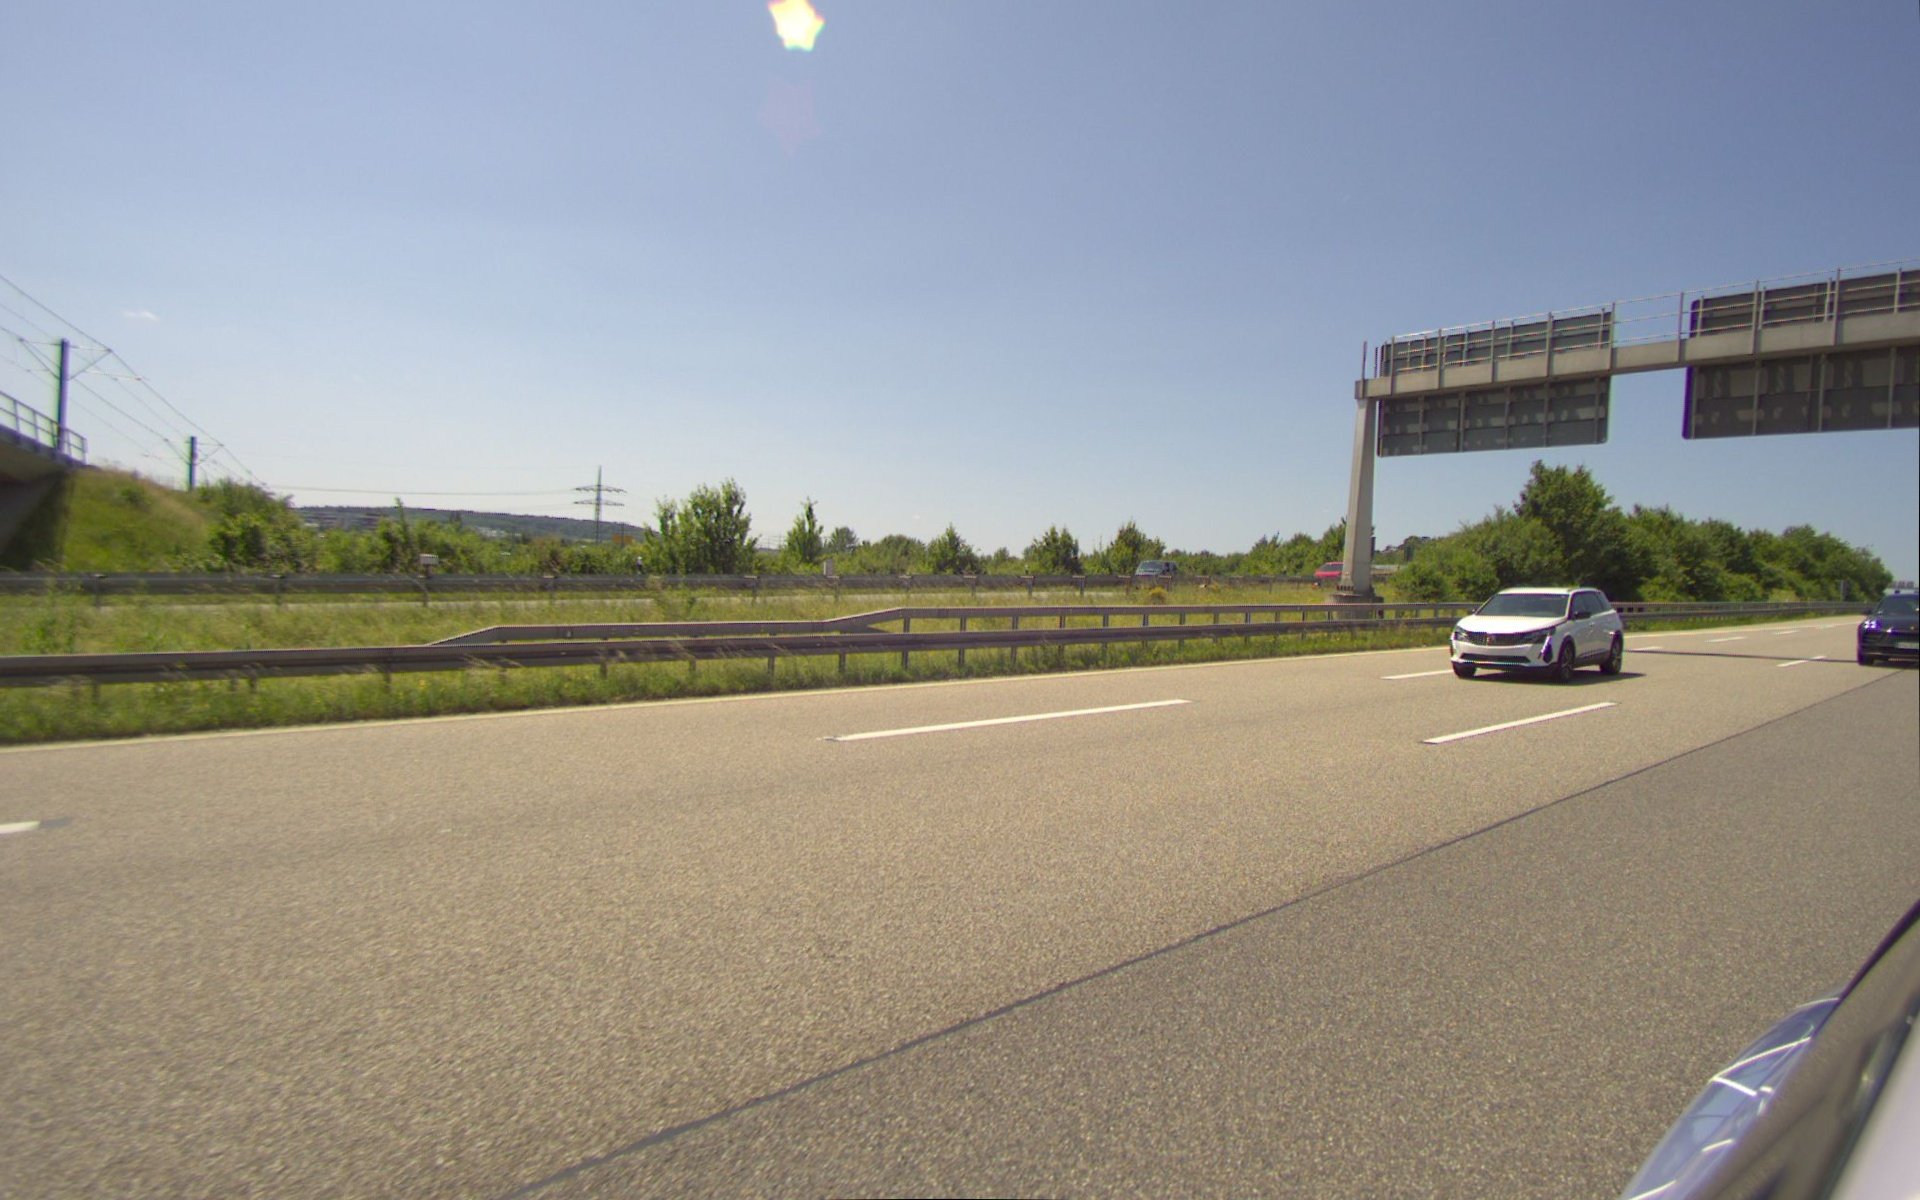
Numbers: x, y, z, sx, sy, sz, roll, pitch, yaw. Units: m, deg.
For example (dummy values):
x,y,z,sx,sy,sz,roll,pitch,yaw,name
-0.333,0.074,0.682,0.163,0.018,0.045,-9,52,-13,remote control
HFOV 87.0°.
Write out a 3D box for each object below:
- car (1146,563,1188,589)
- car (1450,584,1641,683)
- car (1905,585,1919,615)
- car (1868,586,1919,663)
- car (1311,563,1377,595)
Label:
x,y,z,sx,sy,sz,roll,pitch,yaw,name
12.813,-1.454,62.583,1.687,1.594,4.093,0,0,25,car
10.813,0.521,18.542,4.541,1.611,1.746,0,0,-42,car
62.610,0.002,65.542,4.222,1.943,1.806,0,0,-43,car
21.666,0.507,22.419,4.061,1.615,1.929,0,0,-42,car
20.071,-1.053,52.814,1.926,1.615,4.069,0,0,42,car
